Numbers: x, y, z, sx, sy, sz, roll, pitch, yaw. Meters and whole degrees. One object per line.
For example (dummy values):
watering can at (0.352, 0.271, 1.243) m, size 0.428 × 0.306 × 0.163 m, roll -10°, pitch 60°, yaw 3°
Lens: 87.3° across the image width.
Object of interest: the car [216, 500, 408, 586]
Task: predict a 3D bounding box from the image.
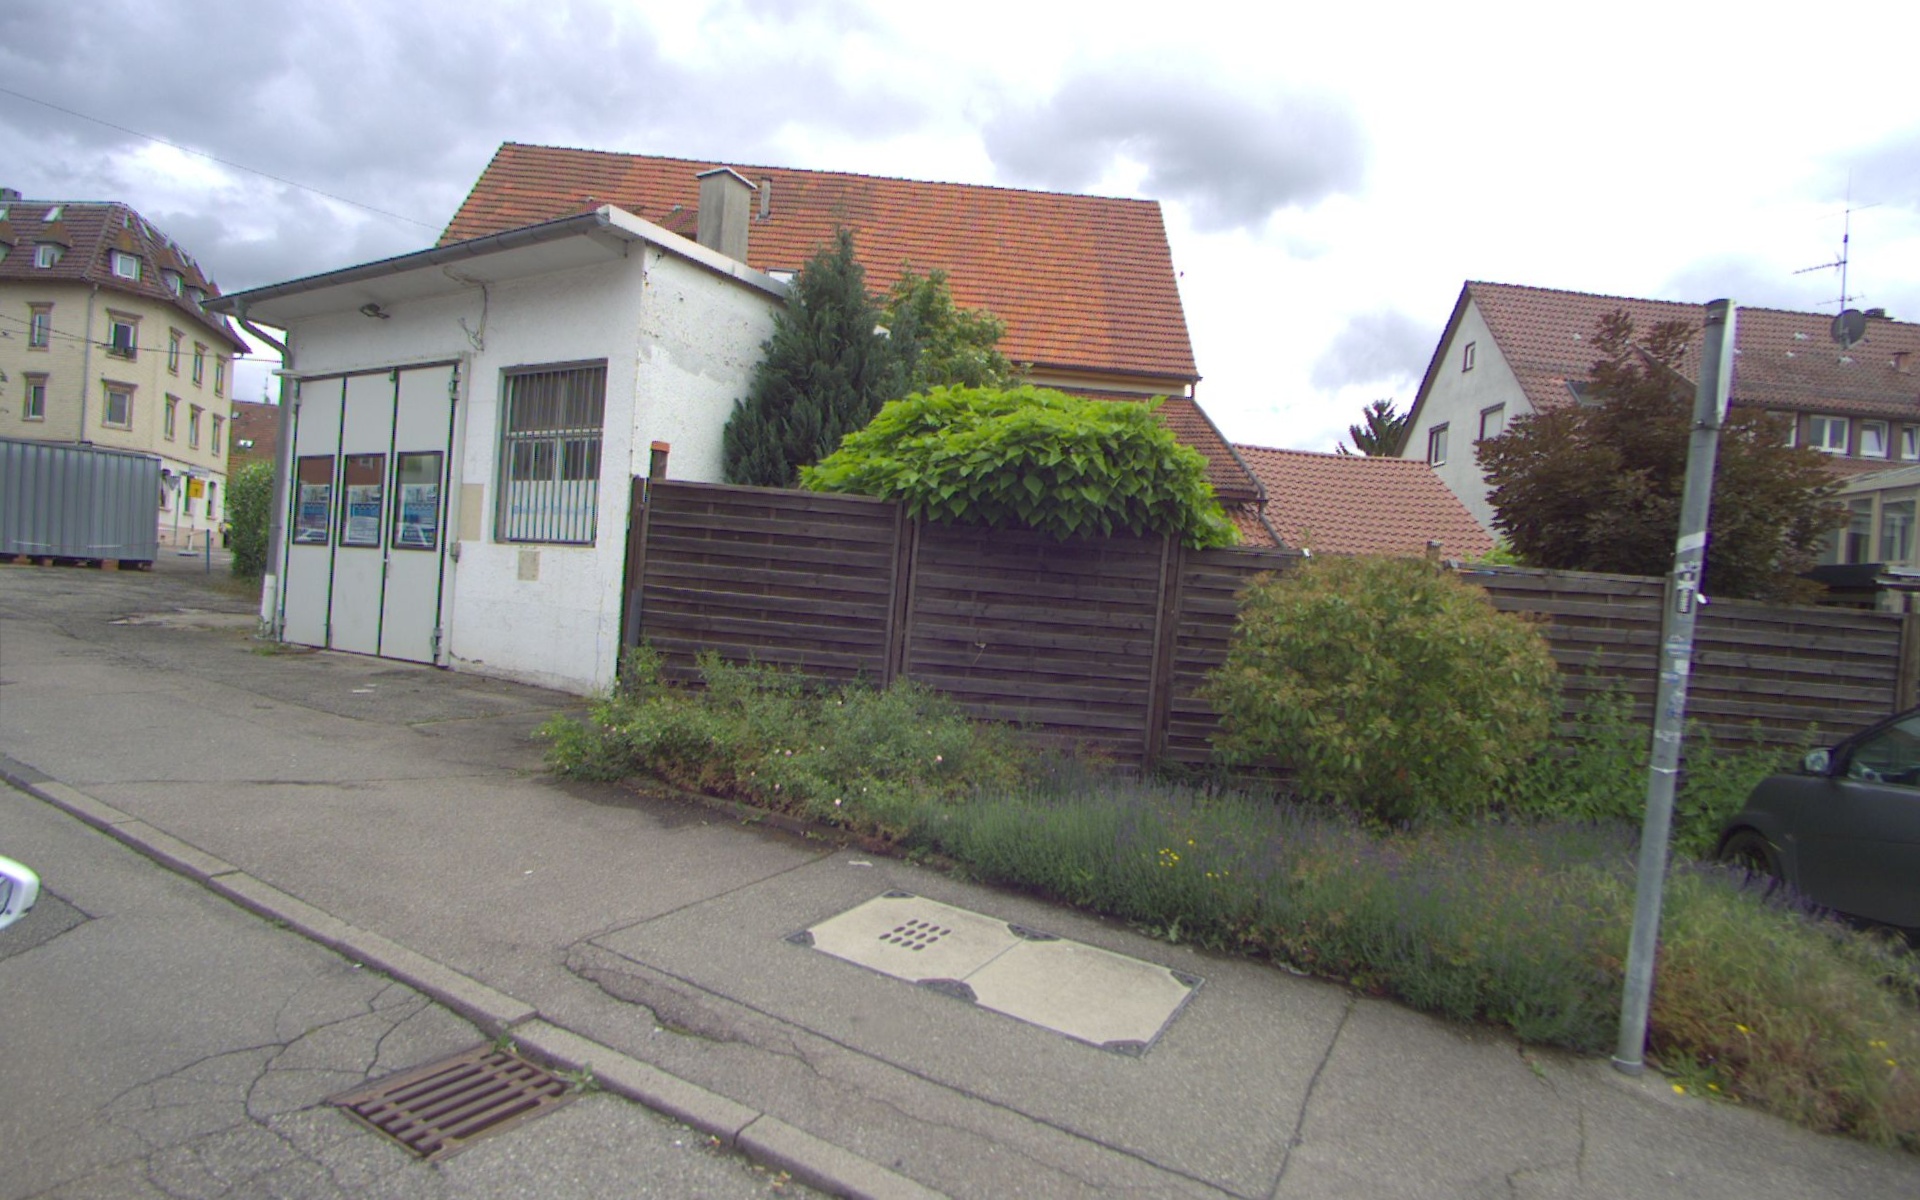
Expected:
car at (-17.875, -1.538, 27.903) m, size 3.927 × 1.748 × 1.870 m, roll 7°, pitch -1°, yaw -2°

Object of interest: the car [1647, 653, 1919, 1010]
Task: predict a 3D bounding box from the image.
car at (5.415, 1.217, 5.165) m, size 1.671 × 1.539 × 3.323 m, roll 6°, pitch 1°, yaw 8°
